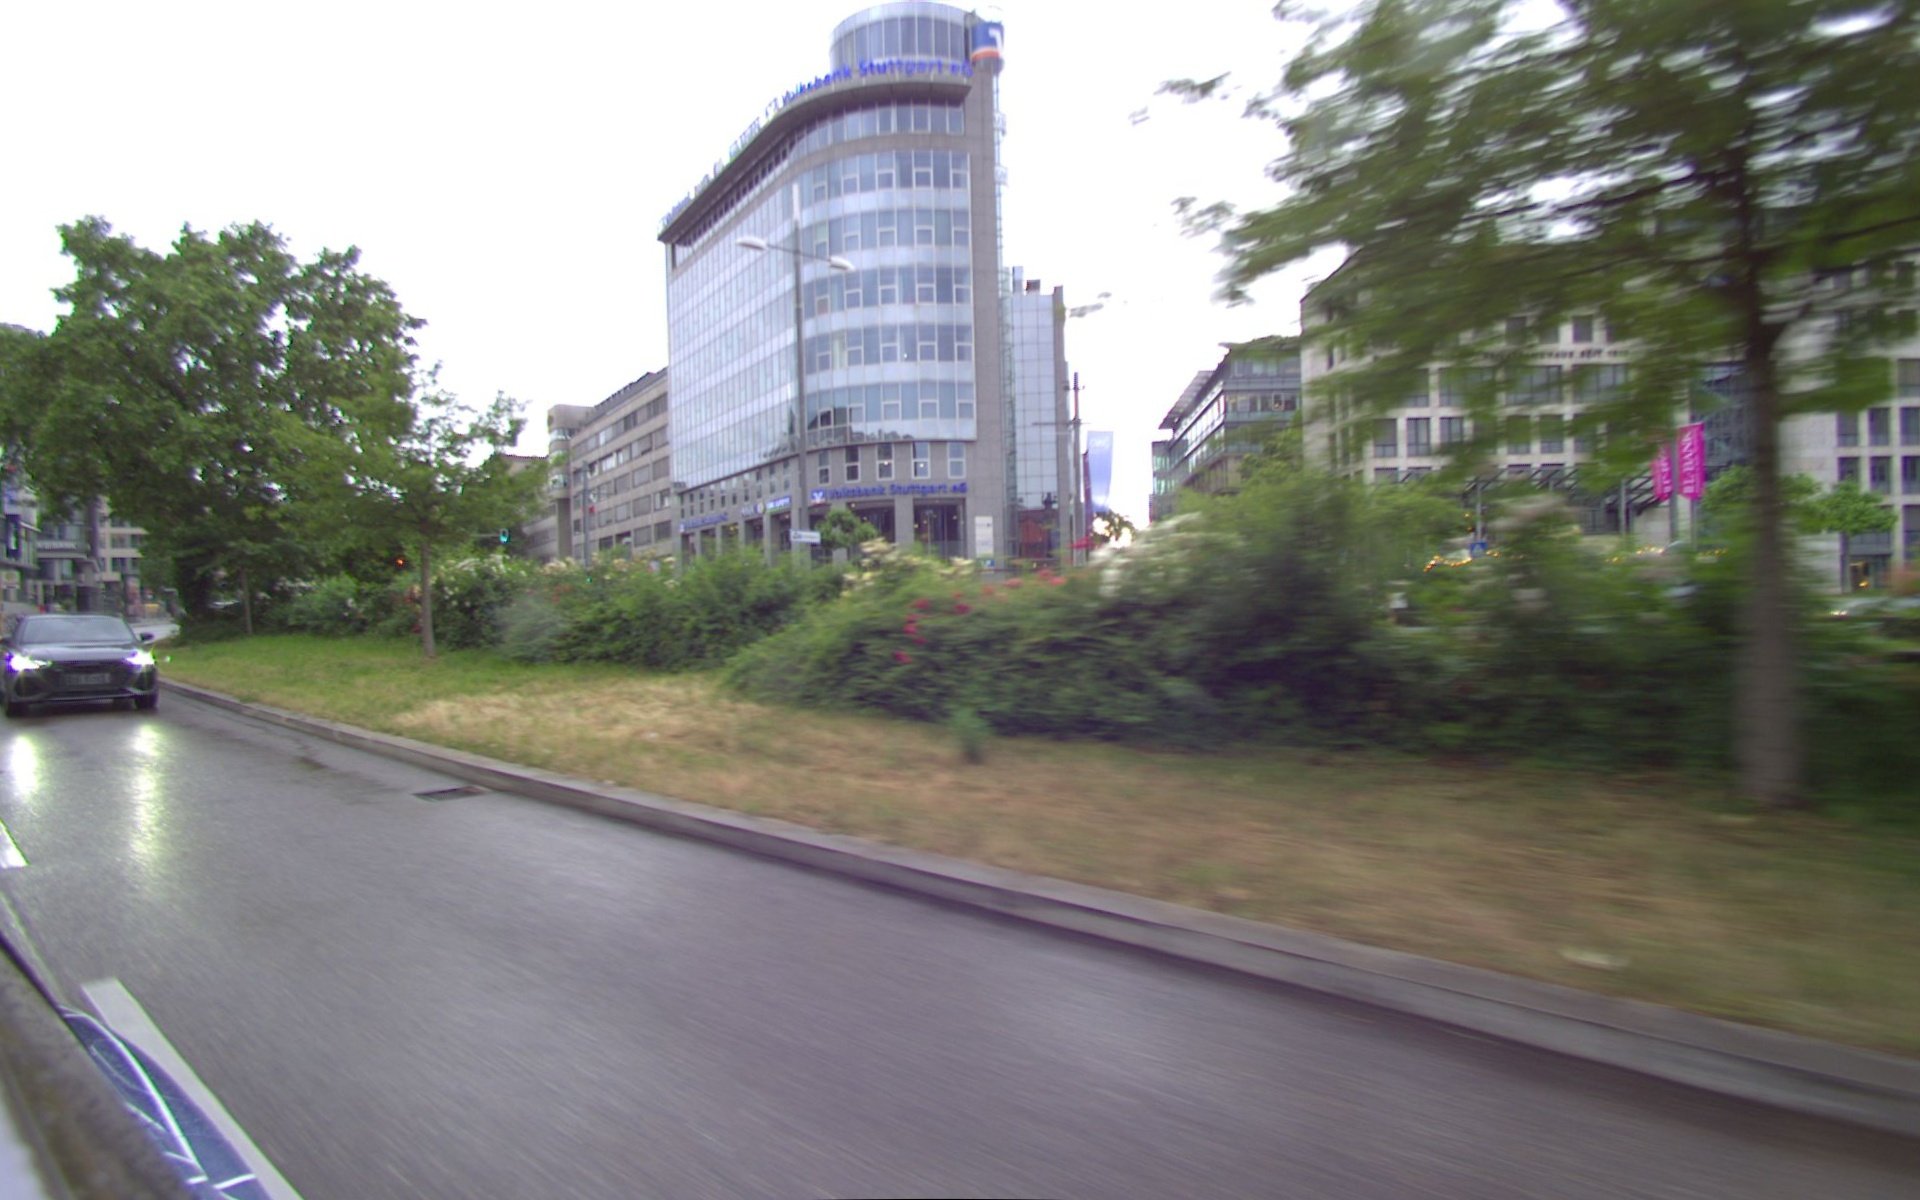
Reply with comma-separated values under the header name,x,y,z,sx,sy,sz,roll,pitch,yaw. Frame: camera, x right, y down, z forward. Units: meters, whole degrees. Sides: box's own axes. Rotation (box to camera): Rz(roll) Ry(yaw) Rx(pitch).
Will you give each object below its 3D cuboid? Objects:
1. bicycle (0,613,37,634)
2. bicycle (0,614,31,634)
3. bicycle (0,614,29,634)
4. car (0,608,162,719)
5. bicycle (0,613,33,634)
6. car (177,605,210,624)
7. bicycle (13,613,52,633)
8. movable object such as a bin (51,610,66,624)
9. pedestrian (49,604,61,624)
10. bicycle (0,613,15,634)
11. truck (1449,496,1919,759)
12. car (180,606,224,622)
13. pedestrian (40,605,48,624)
name,x,y,z,sx,sy,sz,roll,pitch,yaw
bicycle,-56.788,1.414,60.961,1.707,1.192,0.690,0,0,-38
bicycle,-55.997,1.425,59.674,1.707,1.149,0.690,0,0,-38
bicycle,-55.441,1.419,58.974,1.707,1.149,0.690,0,0,-38
car,-14.712,0.934,16.729,4.347,1.529,1.840,-1,1,45
bicycle,-56.400,1.411,60.297,1.707,1.192,0.690,0,0,-38
car,-72.643,1.372,95.934,2.039,1.599,4.119,-4,2,-32
bicycle,-57.586,1.406,62.847,1.707,1.192,0.690,0,0,-38
movable object such as a bin,-84.522,1.615,94.914,0.792,1.275,1.793,0,0,-34
pedestrian,-85.582,1.343,95.703,0.712,1.844,0.749,0,0,-34
bicycle,-53.807,1.325,56.340,1.684,1.149,0.690,-2,2,-38
truck,10.362,0.237,10.980,3.327,2.529,8.485,-1,0,-43
car,-96.540,1.776,128.942,4.157,1.825,1.999,-3,1,3
pedestrian,-86.319,1.373,95.357,0.477,1.712,0.581,0,0,-34
